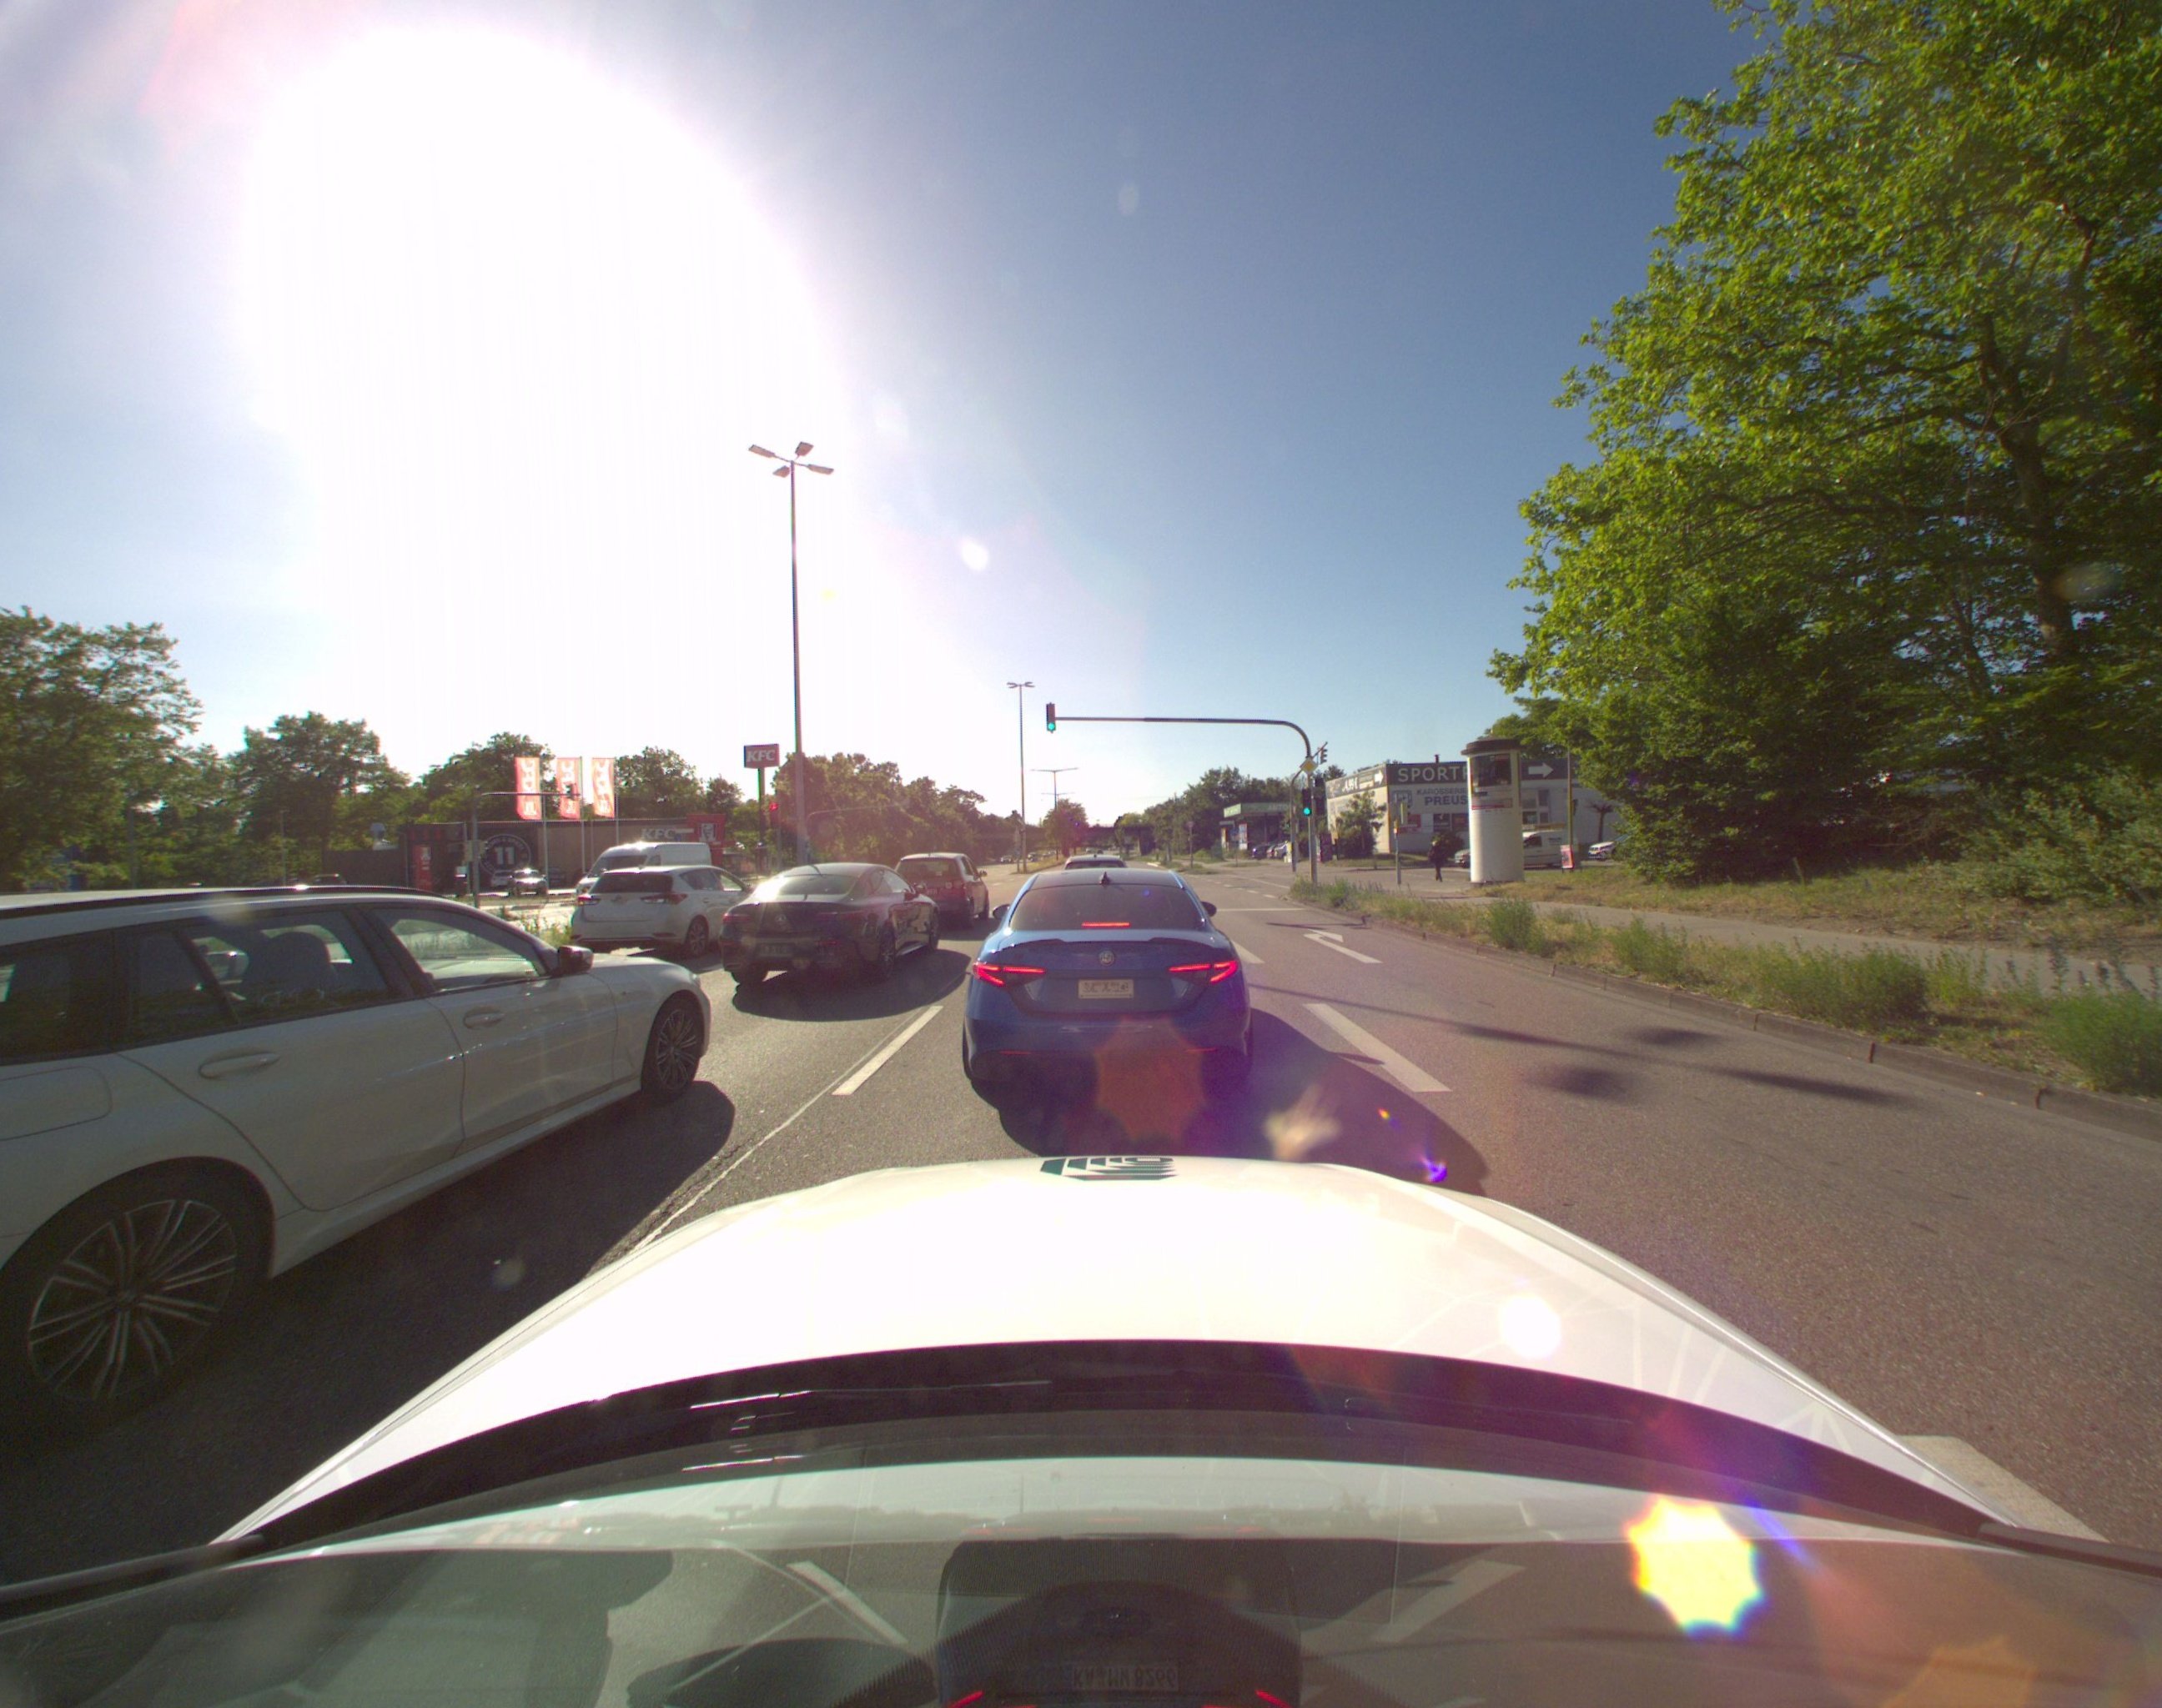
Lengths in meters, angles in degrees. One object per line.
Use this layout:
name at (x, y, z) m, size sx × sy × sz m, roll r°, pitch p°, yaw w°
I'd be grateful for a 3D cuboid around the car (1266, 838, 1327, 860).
car at (17.709, -0.400, 67.111) m, size 4.470 × 1.454 × 1.860 m, roll -4°, pitch 0°, yaw 3°

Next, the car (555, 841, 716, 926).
car at (-15.126, 0.926, 28.176) m, size 2.015 × 2.447 × 5.824 m, roll -5°, pitch 0°, yaw 2°

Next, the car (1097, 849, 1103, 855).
car at (6.203, -0.561, 262.782) m, size 1.884 × 1.816 × 4.001 m, roll 0°, pitch -1°, yaw 2°

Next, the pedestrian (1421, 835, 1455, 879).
pedestrian at (14.207, 0.127, 32.444) m, size 0.922 × 1.735 × 0.939 m, roll 0°, pitch -1°, yaw 1°

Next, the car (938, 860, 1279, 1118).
car at (0.184, 0.769, 6.736) m, size 1.889 × 1.418 × 4.403 m, roll 0°, pitch 0°, yaw 1°

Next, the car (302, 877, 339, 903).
car at (-52.373, 2.458, 56.108) m, size 1.670 × 1.673 × 3.897 m, roll 0°, pitch -1°, yaw -40°

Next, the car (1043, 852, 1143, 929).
car at (0.251, 0.696, 17.316) m, size 1.844 × 1.418 × 4.403 m, roll 0°, pitch 0°, yaw 1°

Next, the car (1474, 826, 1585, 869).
car at (21.634, -0.334, 39.387) m, size 4.367 × 1.801 × 1.765 m, roll -3°, pitch 1°, yaw 0°

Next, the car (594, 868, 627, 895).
car at (-33.668, 1.931, 58.352) m, size 1.920 × 1.752 × 4.315 m, roll 0°, pitch -1°, yaw -29°

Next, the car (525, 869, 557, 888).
car at (-43.146, 1.953, 65.072) m, size 1.670 × 1.471 × 3.872 m, roll 0°, pitch -1°, yaw -40°

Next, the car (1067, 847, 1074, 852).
car at (-3.306, -1.308, 251.524) m, size 1.752 × 1.490 × 4.480 m, roll -3°, pitch 0°, yaw 2°

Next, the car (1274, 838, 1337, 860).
car at (17.703, -0.413, 64.330) m, size 4.470 × 1.454 × 1.860 m, roll -4°, pitch 0°, yaw 3°

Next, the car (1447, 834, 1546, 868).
car at (21.765, -0.188, 42.721) m, size 4.273 × 1.549 × 1.765 m, roll -3°, pitch 1°, yaw 0°

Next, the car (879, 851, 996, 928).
car at (-3.047, 0.719, 18.168) m, size 1.753 × 1.490 × 4.403 m, roll 0°, pitch -1°, yaw 1°

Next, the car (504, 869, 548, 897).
car at (-37.337, 1.936, 54.873) m, size 2.005 × 1.765 × 4.315 m, roll 0°, pitch -1°, yaw -29°

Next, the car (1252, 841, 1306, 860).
car at (17.945, -0.342, 73.914) m, size 4.470 × 1.454 × 1.860 m, roll -4°, pitch 0°, yaw 3°

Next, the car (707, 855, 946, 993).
car at (-3.141, 0.784, 11.109) m, size 1.790 × 1.490 × 4.476 m, roll 0°, pitch -1°, yaw 1°

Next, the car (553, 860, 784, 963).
car at (-6.758, 0.855, 13.938) m, size 1.753 × 1.490 × 4.197 m, roll 0°, pitch -1°, yaw 1°

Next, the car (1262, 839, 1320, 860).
car at (17.986, -0.371, 69.860) m, size 4.470 × 1.454 × 1.860 m, roll -4°, pitch 0°, yaw 3°

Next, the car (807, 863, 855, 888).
car at (-17.487, 1.466, 57.173) m, size 1.752 × 1.490 × 4.480 m, roll -5°, pitch 0°, yaw 2°

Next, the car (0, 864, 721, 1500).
car at (-3.429, 0.802, 3.460) m, size 1.779 × 1.490 × 4.403 m, roll 0°, pitch -1°, yaw 1°

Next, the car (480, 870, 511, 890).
car at (-45.639, 2.021, 63.418) m, size 1.670 × 1.471 × 3.872 m, roll 0°, pitch -1°, yaw -40°

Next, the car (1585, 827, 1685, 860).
car at (29.034, -0.528, 42.769) m, size 4.028 × 1.490 × 1.782 m, roll -3°, pitch 0°, yaw -1°

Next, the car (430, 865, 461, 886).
car at (-47.639, 1.597, 61.002) m, size 1.670 × 1.471 × 3.872 m, roll 0°, pitch -1°, yaw -40°

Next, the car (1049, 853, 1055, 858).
car at (-8.299, 0.427, 234.454) m, size 1.603 × 1.647 × 3.464 m, roll 0°, pitch -1°, yaw 2°

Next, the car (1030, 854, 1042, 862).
car at (-8.458, 0.722, 152.746) m, size 1.752 × 1.490 × 3.839 m, roll -3°, pitch 0°, yaw 2°

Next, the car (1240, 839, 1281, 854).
car at (21.390, -0.867, 97.023) m, size 4.532 × 1.490 × 1.766 m, roll -4°, pitch 0°, yaw 3°

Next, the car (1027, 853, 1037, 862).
car at (-10.716, 0.832, 178.407) m, size 1.986 × 2.014 × 4.001 m, roll 0°, pitch -1°, yaw 2°

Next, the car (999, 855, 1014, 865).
car at (-12.410, 0.970, 136.188) m, size 1.752 × 1.490 × 4.480 m, roll -3°, pitch 0°, yaw 2°

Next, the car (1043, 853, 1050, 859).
car at (-9.271, 0.518, 217.608) m, size 1.609 × 1.559 × 3.359 m, roll 0°, pitch -1°, yaw 2°
